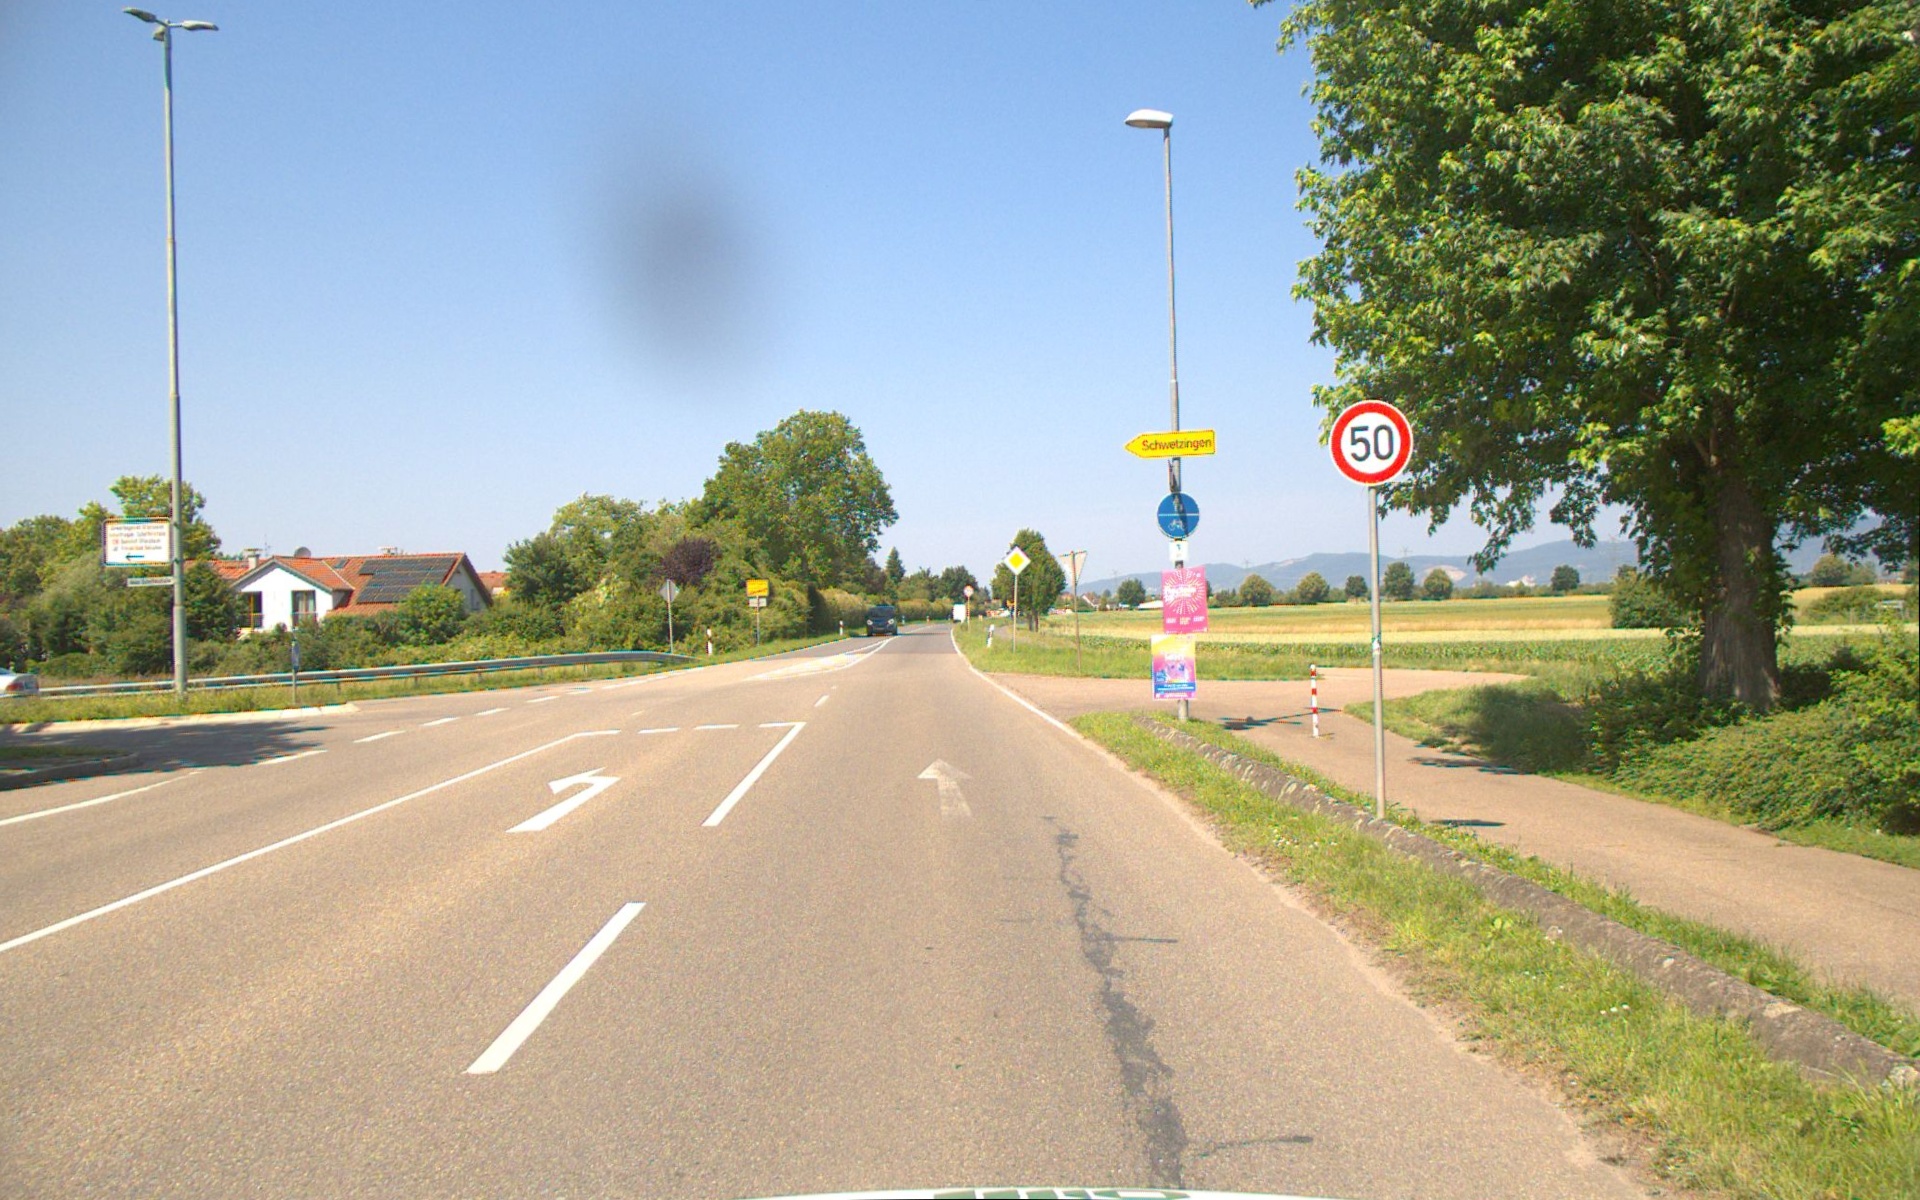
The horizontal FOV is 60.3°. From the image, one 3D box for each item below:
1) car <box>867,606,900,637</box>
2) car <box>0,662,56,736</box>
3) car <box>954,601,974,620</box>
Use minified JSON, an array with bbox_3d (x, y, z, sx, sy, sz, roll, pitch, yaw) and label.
[{"bbox_3d":[-5.189,1.415,112.983,2.101,1.985,5.245,-2,0,-2],"label":"car"},{"bbox_3d":[-22.069,2.206,35.531,4.329,1.496,1.635,-2,0,-15],"label":"car"},{"bbox_3d":[0.624,1.543,244.938,1.951,2.697,4.003,-2,0,15],"label":"car"}]
